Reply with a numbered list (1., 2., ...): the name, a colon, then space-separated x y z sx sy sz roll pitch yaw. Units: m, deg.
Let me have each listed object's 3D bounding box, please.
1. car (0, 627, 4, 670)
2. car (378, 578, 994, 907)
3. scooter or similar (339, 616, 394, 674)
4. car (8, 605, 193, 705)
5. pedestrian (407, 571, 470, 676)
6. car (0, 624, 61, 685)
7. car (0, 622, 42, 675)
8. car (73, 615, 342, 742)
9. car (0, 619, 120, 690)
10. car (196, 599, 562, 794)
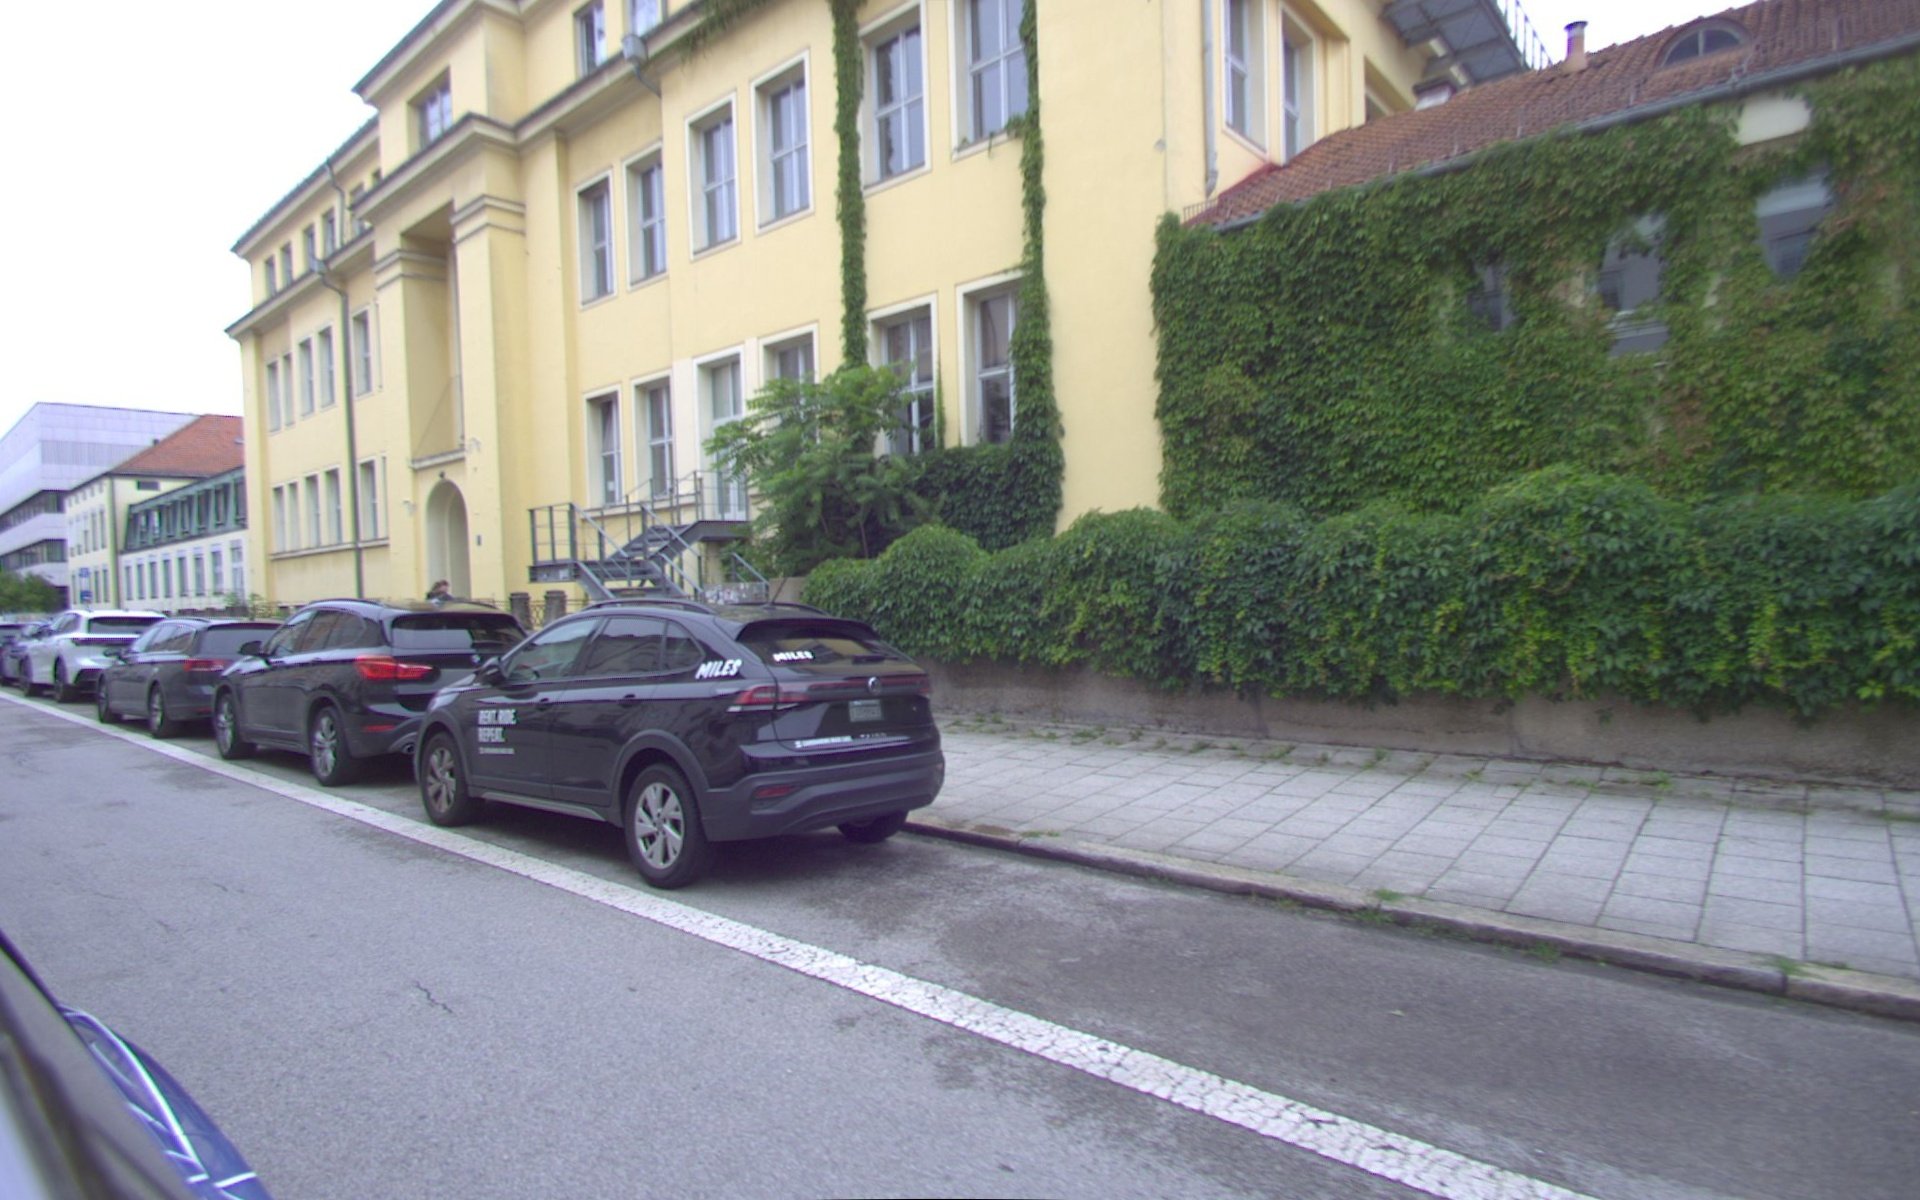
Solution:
1. car: -33.506 1.623 33.850 4.017 1.408 1.793 -1 -2 41
2. car: -1.972 0.717 6.605 4.214 1.492 1.700 -1 -3 38
3. scooter or similar: -12.399 0.937 21.130 1.444 1.144 0.526 -3 0 41
4. car: -16.065 0.985 18.857 4.294 1.653 1.764 -1 -3 38
5. pedestrian: -9.399 0.405 18.240 0.782 1.838 0.766 -1 0 44
6. car: -23.958 1.321 25.296 3.777 1.450 1.716 -1 -2 41
7. car: -27.750 1.364 28.990 4.110 1.457 1.668 -1 -2 41
8. car: -10.126 0.957 13.489 4.595 1.419 1.756 -2 -3 39
9. car: -20.198 1.170 22.451 3.912 1.457 1.591 -1 -2 38
10. car: -5.834 0.803 9.950 4.270 1.514 1.751 -1 -2 40
